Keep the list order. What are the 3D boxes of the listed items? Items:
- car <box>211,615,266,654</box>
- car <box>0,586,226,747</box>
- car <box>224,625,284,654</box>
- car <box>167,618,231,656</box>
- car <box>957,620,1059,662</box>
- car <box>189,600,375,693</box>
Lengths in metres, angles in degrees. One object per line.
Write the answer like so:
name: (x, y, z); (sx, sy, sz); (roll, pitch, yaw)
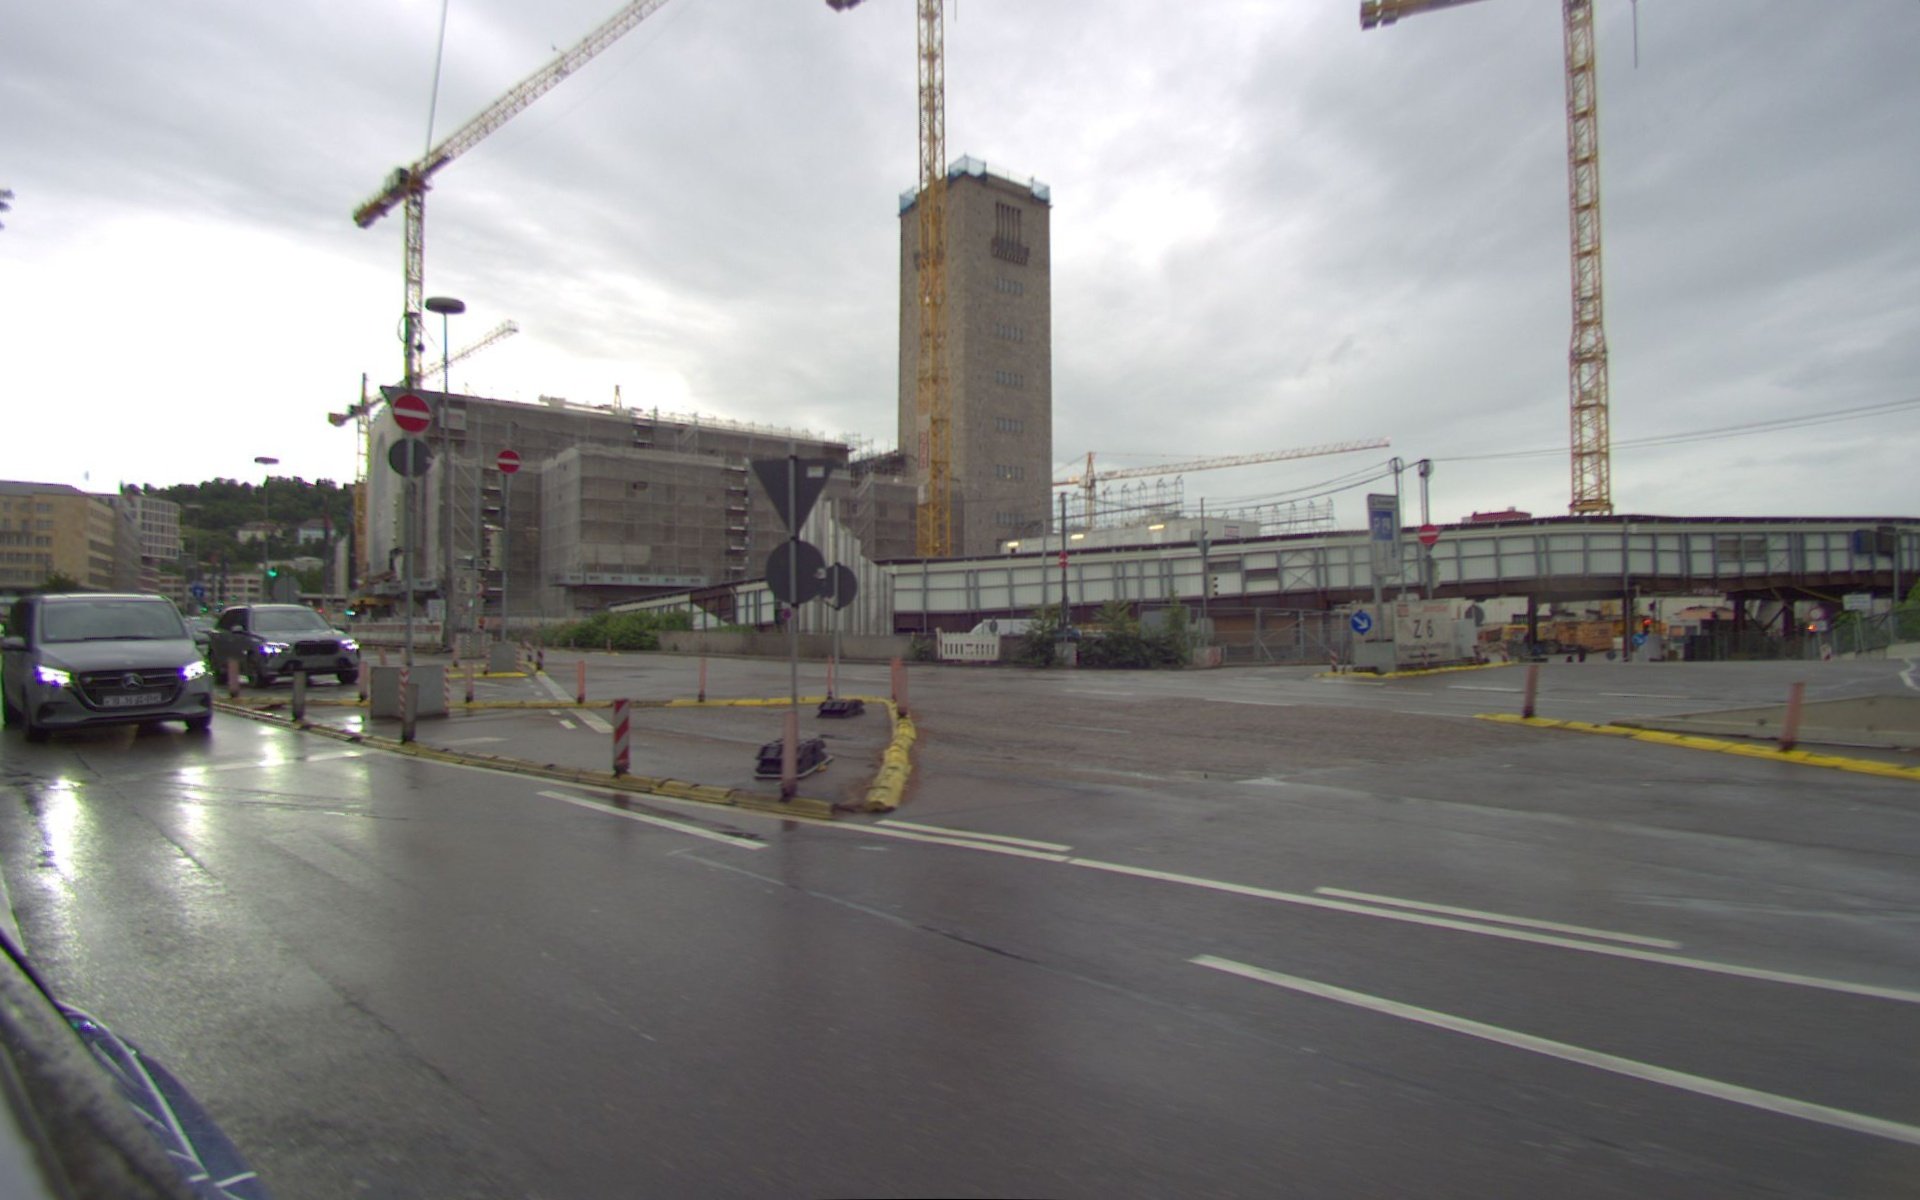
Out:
car: (-43.915, 2.100, 61.576); (1.975, 2.224, 5.001); (3, -3, -44)
car: (-12.252, 0.861, 14.296); (5.355, 1.870, 1.972); (-2, -2, 42)
car: (-39.685, 2.200, 56.854); (2.142, 1.585, 4.003); (3, -3, -44)
car: (-37.860, 1.825, 50.336); (1.970, 1.828, 4.296); (3, -3, -44)
car: (2.452, 2.060, 50.863); (4.969, 2.029, 1.994); (0, -2, 9)
car: (-15.419, 0.980, 22.906); (5.069, 1.877, 2.187); (-1, -1, 40)
